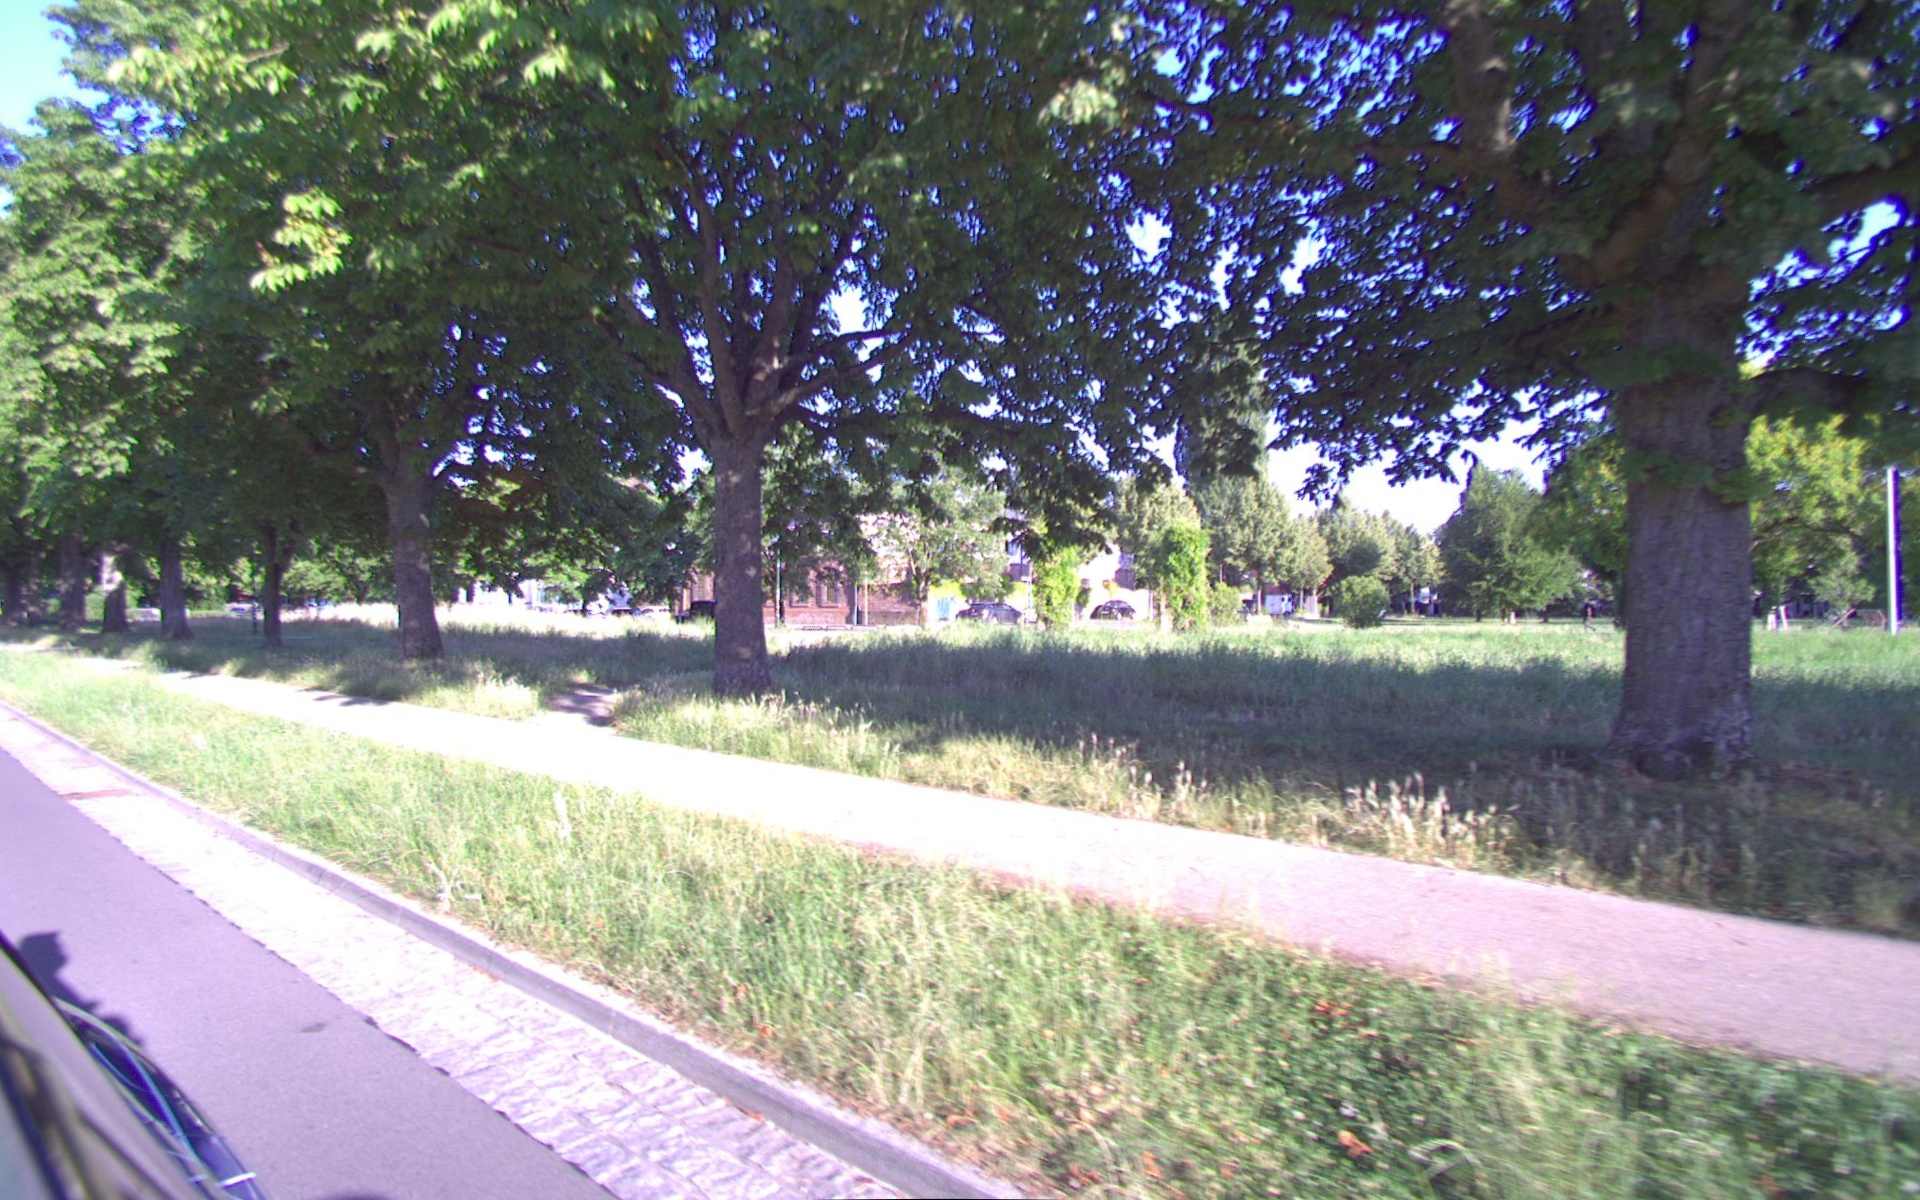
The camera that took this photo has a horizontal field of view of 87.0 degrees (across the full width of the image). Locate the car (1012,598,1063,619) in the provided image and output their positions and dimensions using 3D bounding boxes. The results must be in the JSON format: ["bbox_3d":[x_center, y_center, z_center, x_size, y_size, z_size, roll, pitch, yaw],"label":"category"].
[{"bbox_3d":[5.298,0.550,68.630,1.586,1.290,3.589,0,1,42],"label":"car"}]

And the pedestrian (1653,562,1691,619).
[{"bbox_3d":[22.021,-0.307,31.302,0.709,1.737,0.774,0,1,13],"label":"pedestrian"}]

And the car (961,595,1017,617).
[{"bbox_3d":[1.871,0.360,64.296,1.586,1.290,3.589,0,1,42],"label":"car"}]

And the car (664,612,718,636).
[{"bbox_3d":[-19.091,1.676,71.799,3.998,1.641,1.744,-1,0,41],"label":"car"}]

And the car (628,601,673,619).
[{"bbox_3d":[-22.960,0.723,75.127,3.580,1.284,1.564,0,1,42],"label":"car"}]

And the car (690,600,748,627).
[{"bbox_3d":[-14.384,0.788,60.245,3.639,1.492,1.564,0,1,42],"label":"car"}]

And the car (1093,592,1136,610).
[{"bbox_3d":[11.922,0.047,77.926,1.586,1.290,3.589,0,1,42],"label":"car"}]
